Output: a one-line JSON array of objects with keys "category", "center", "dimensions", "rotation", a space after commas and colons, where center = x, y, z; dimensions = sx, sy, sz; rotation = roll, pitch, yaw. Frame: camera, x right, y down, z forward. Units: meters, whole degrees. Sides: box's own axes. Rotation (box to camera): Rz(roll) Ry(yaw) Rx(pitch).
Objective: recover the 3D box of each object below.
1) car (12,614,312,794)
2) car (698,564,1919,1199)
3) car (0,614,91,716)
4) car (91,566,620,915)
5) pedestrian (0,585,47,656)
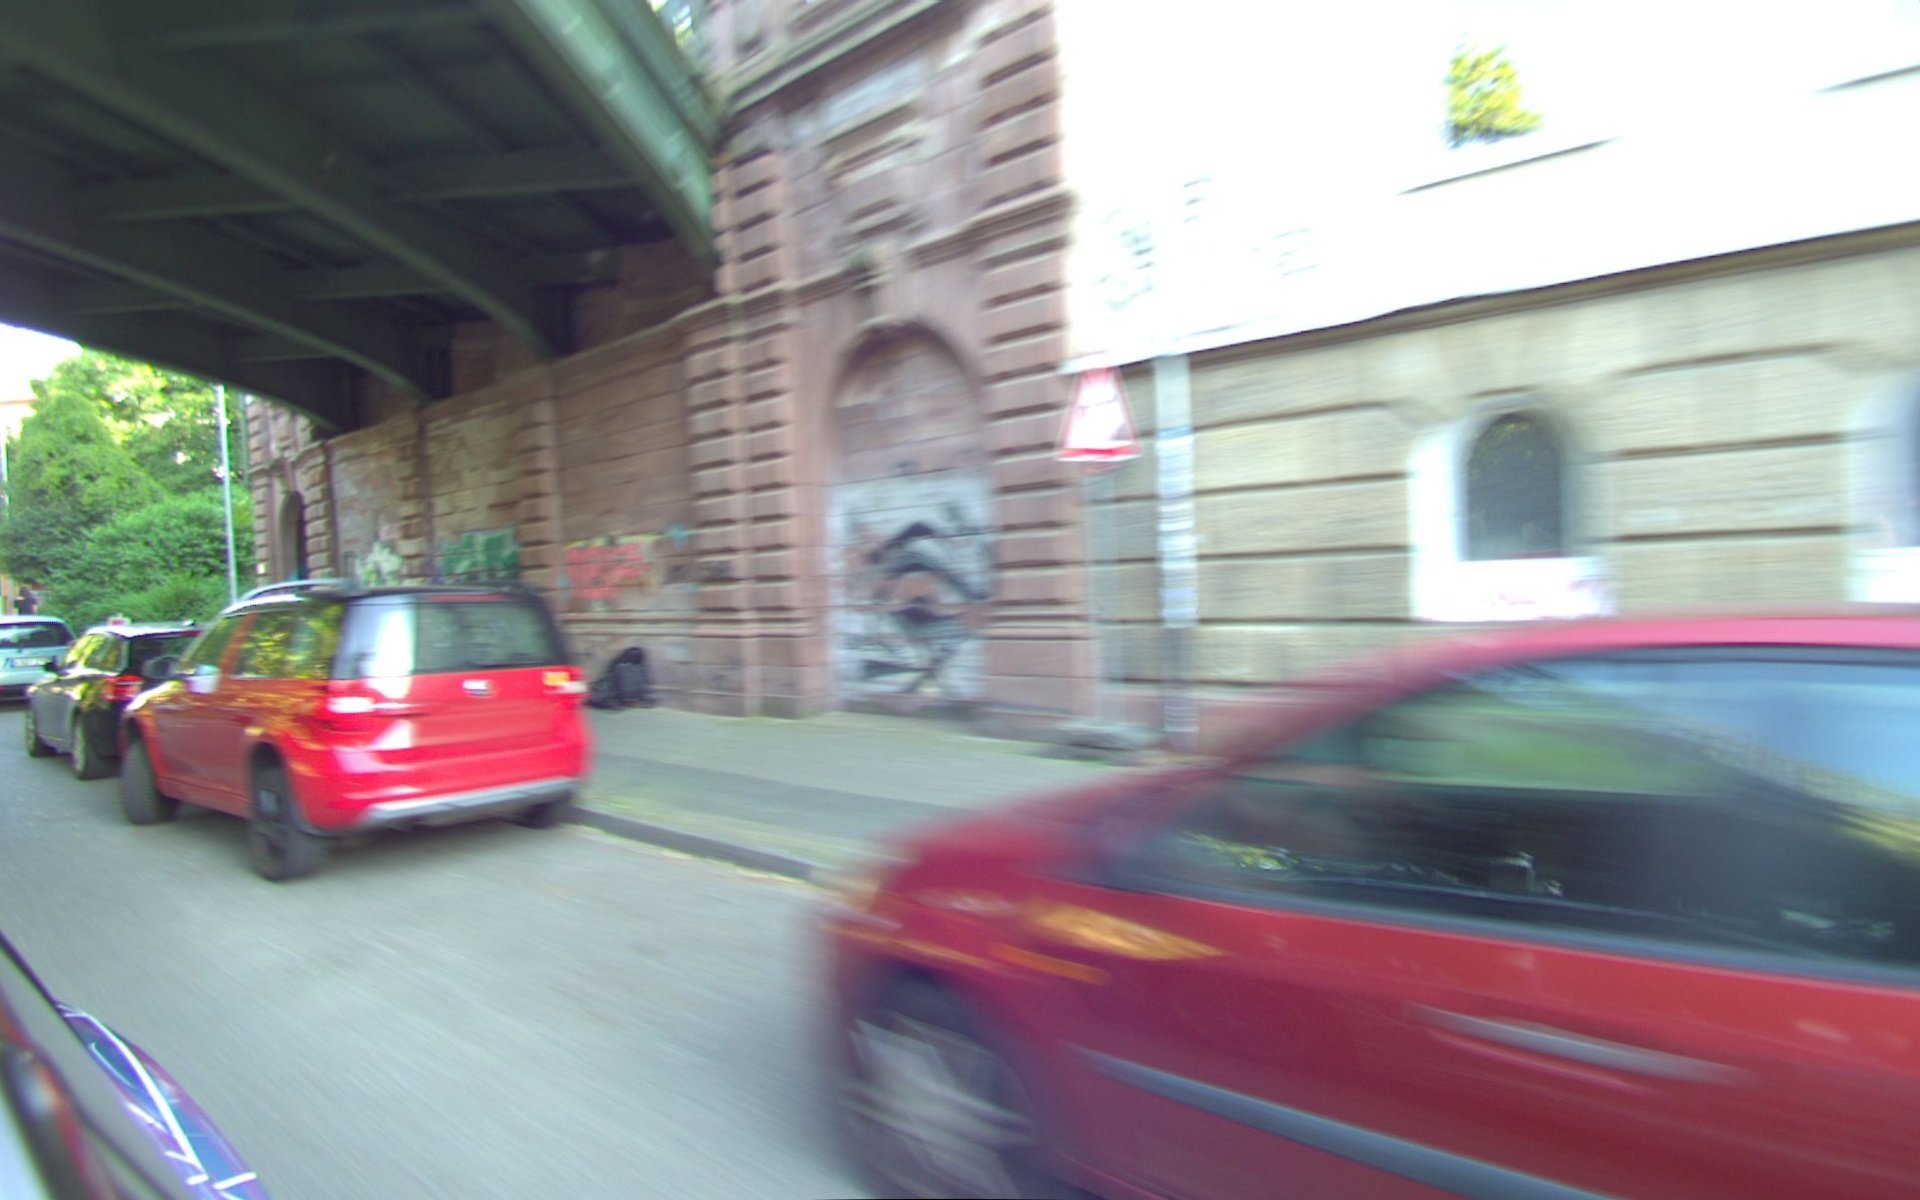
[{"category": "car", "center": [-8.385, 0.908, 10.512], "dimensions": [3.997, 1.475, 1.699], "rotation": [-1, 0, 41]}, {"category": "car", "center": [1.344, 0.671, 2.170], "dimensions": [3.997, 1.452, 1.672], "rotation": [-1, 1, 40]}, {"category": "car", "center": [-16.435, 1.051, 17.322], "dimensions": [3.909, 1.559, 1.580], "rotation": [0, 0, 37]}, {"category": "car", "center": [-4.359, 0.706, 7.006], "dimensions": [4.316, 1.721, 1.700], "rotation": [-1, 0, 38]}, {"category": "pedestrian", "center": [-26.239, 0.568, 28.354], "dimensions": [1.044, 1.928, 0.632], "rotation": [0, 3, 33]}]
